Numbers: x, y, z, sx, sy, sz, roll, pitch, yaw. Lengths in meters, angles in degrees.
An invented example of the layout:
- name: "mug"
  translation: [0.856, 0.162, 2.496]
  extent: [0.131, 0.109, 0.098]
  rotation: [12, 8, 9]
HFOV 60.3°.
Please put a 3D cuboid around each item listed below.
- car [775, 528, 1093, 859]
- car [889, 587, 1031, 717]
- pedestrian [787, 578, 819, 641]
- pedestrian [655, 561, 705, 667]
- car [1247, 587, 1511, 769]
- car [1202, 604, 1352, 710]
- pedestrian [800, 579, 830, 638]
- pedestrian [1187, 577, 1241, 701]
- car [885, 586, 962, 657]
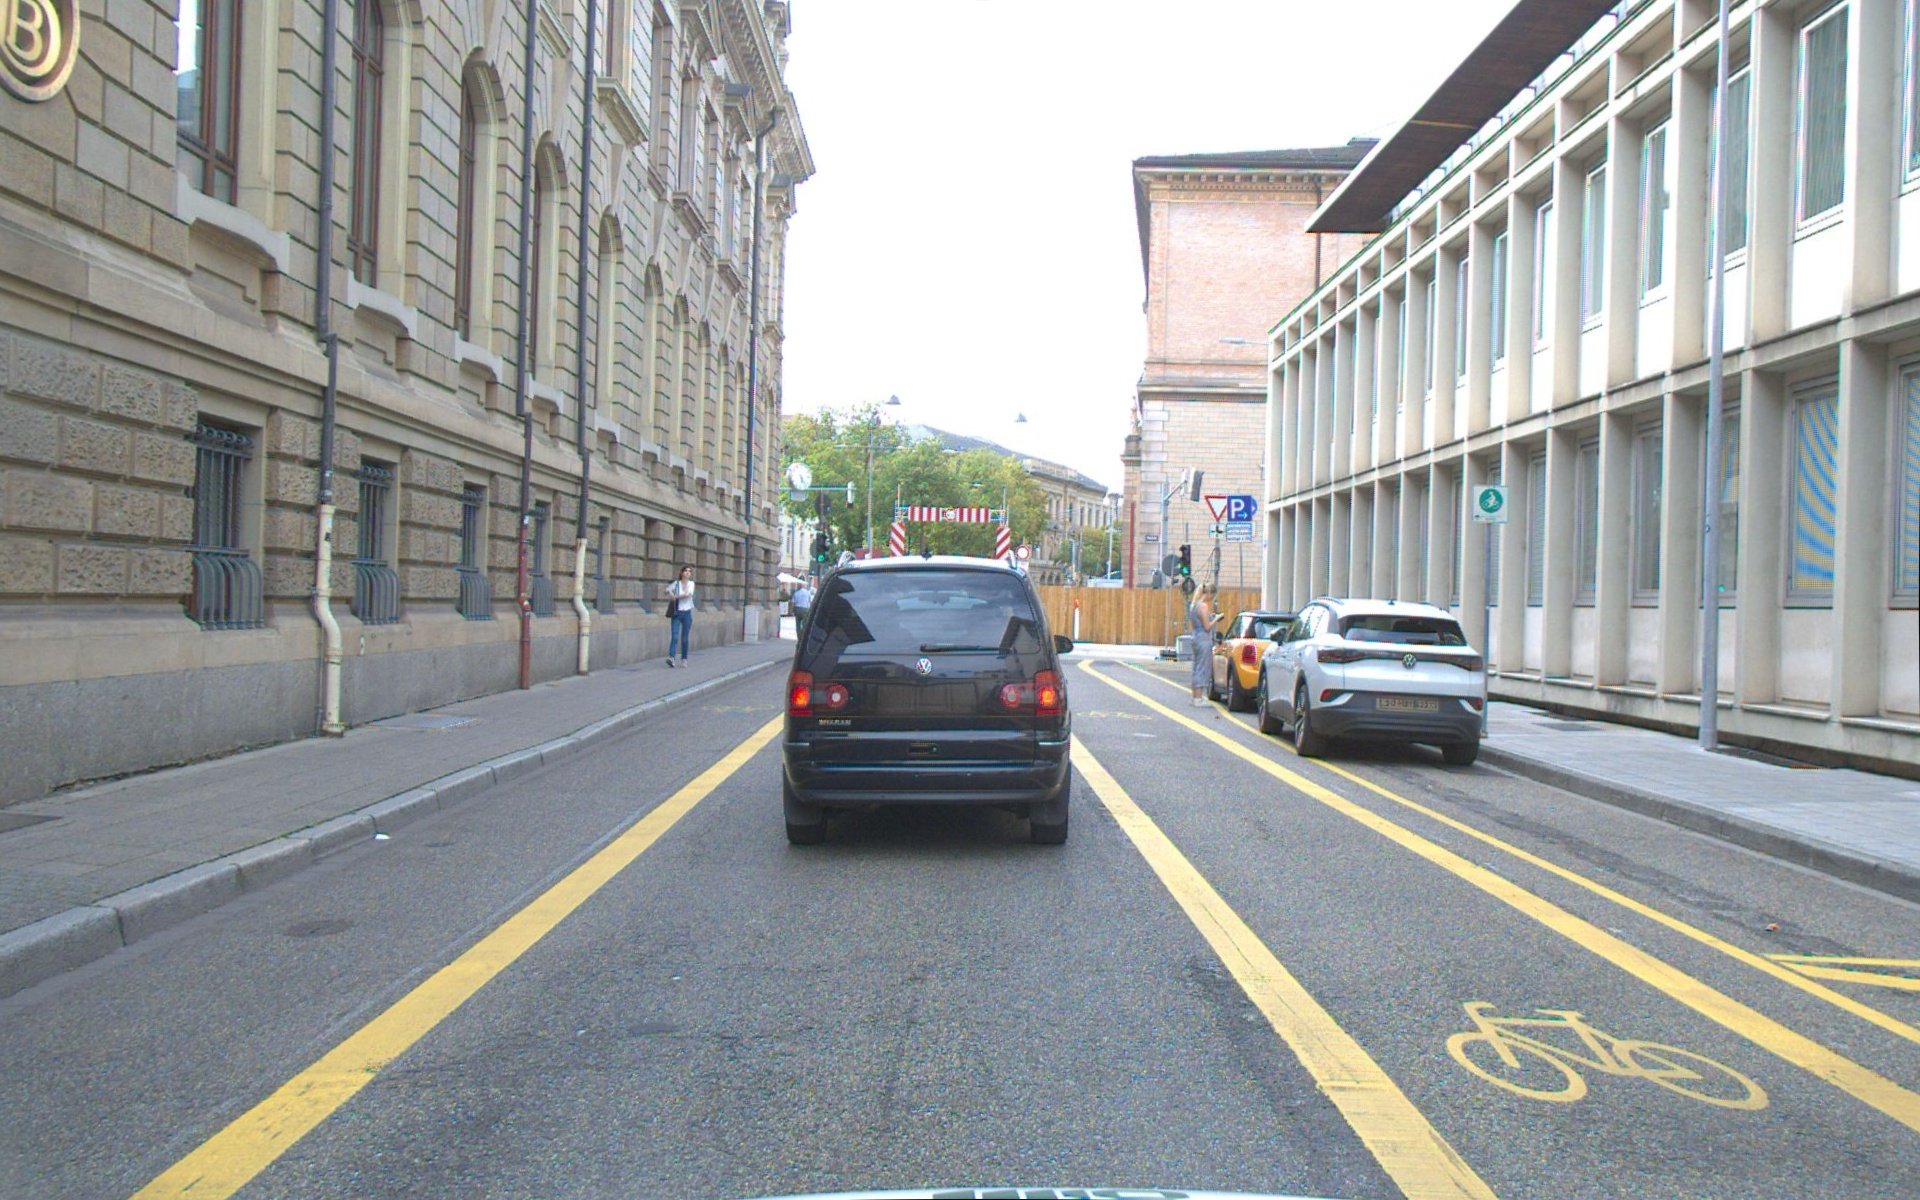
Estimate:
- name: "car"
  translation: [-0.071, 0.525, 11.200]
  extent: [1.752, 1.821, 4.104]
  rotation: [0, 0, 2]
- name: "car"
  translation: [0.075, 0.630, 21.655]
  extent: [1.643, 1.495, 4.104]
  rotation: [2, 0, 2]
- name: "pedestrian"
  translation: [-4.742, 0.279, 49.935]
  extent: [0.776, 1.851, 1.048]
  rotation: [3, -1, -1]
- name: "pedestrian"
  translation: [-5.056, 0.248, 29.887]
  extent: [0.650, 1.851, 1.048]
  rotation: [3, -1, -1]
- name: "car"
  translation: [4.465, 0.773, 18.342]
  extent: [1.822, 1.633, 4.513]
  rotation: [4, 0, 2]
- name: "car"
  translation: [4.698, 0.797, 24.981]
  extent: [1.645, 1.460, 3.887]
  rotation: [1, 0, 2]
- name: "pedestrian"
  translation: [-4.645, 0.271, 52.994]
  extent: [0.776, 1.851, 1.048]
  rotation: [3, -1, -1]
- name: "pedestrian"
  translation: [3.755, 0.572, 24.477]
  extent: [0.683, 1.794, 0.706]
  rotation: [1, -1, 1]
- name: "car"
  translation: [-0.866, 0.509, 40.086]
  extent: [1.737, 1.613, 3.999]
  rotation: [1, 0, -1]
